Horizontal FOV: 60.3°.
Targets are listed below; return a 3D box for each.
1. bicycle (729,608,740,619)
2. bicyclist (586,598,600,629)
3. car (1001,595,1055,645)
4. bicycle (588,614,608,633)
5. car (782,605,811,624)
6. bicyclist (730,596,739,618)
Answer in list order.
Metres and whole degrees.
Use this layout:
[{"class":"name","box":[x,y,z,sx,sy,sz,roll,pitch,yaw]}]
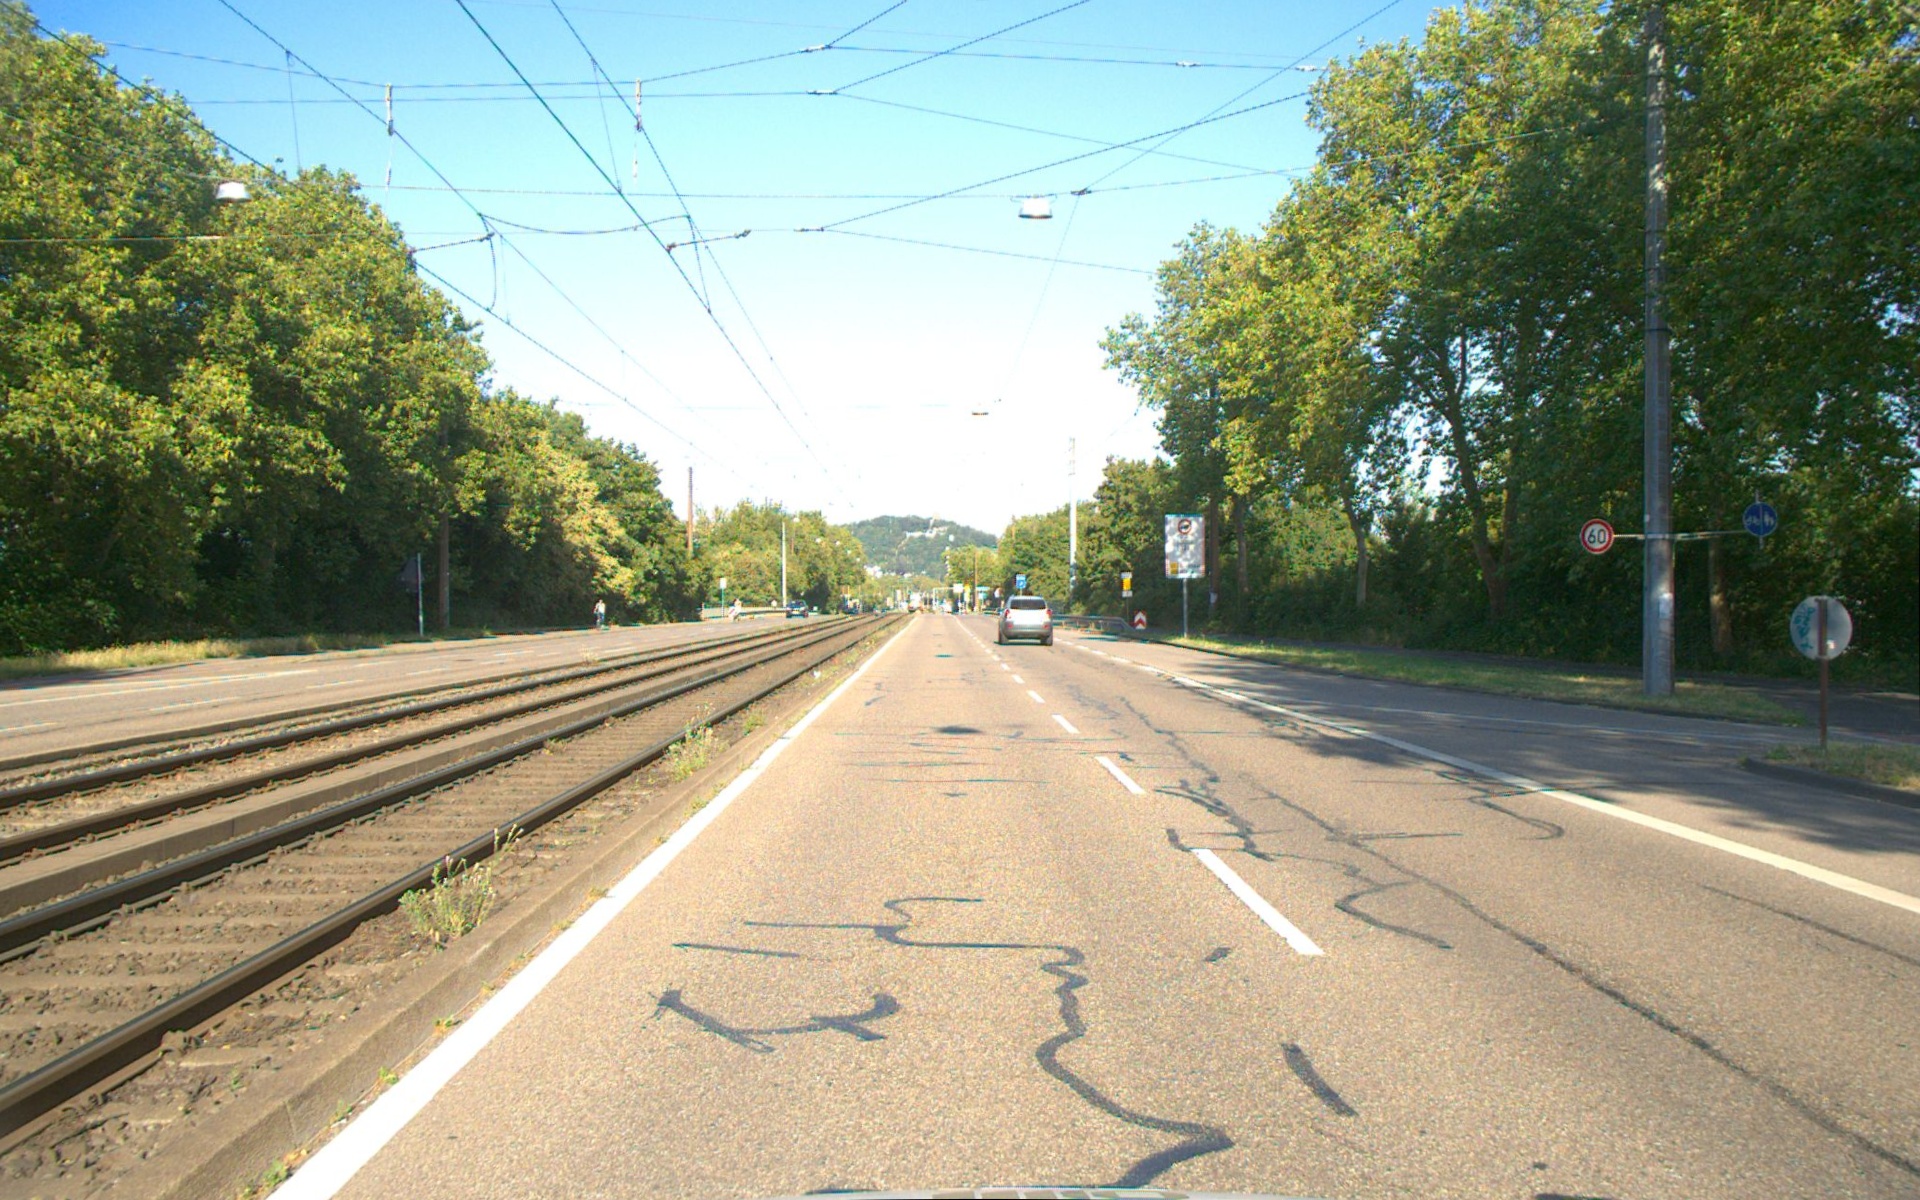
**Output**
[{"class":"bicycle","box":[-17.526,1.049,128.773,0.497,0.908,2.028,2,0,2]},{"class":"bicyclist","box":[-20.698,0.781,93.219,0.539,1.720,0.820,1,-1,3]},{"class":"car","box":[2.395,0.710,58.980,1.849,1.723,4.257,0,0,1]},{"class":"bicycle","box":[-20.420,1.333,93.296,0.539,1.003,2.238,4,0,0]},{"class":"car","box":[-15.291,1.355,154.900,1.952,1.715,4.797,-2,0,2]},{"class":"bicyclist","box":[-17.517,0.552,128.761,0.497,1.717,0.919,2,-1,2]}]
